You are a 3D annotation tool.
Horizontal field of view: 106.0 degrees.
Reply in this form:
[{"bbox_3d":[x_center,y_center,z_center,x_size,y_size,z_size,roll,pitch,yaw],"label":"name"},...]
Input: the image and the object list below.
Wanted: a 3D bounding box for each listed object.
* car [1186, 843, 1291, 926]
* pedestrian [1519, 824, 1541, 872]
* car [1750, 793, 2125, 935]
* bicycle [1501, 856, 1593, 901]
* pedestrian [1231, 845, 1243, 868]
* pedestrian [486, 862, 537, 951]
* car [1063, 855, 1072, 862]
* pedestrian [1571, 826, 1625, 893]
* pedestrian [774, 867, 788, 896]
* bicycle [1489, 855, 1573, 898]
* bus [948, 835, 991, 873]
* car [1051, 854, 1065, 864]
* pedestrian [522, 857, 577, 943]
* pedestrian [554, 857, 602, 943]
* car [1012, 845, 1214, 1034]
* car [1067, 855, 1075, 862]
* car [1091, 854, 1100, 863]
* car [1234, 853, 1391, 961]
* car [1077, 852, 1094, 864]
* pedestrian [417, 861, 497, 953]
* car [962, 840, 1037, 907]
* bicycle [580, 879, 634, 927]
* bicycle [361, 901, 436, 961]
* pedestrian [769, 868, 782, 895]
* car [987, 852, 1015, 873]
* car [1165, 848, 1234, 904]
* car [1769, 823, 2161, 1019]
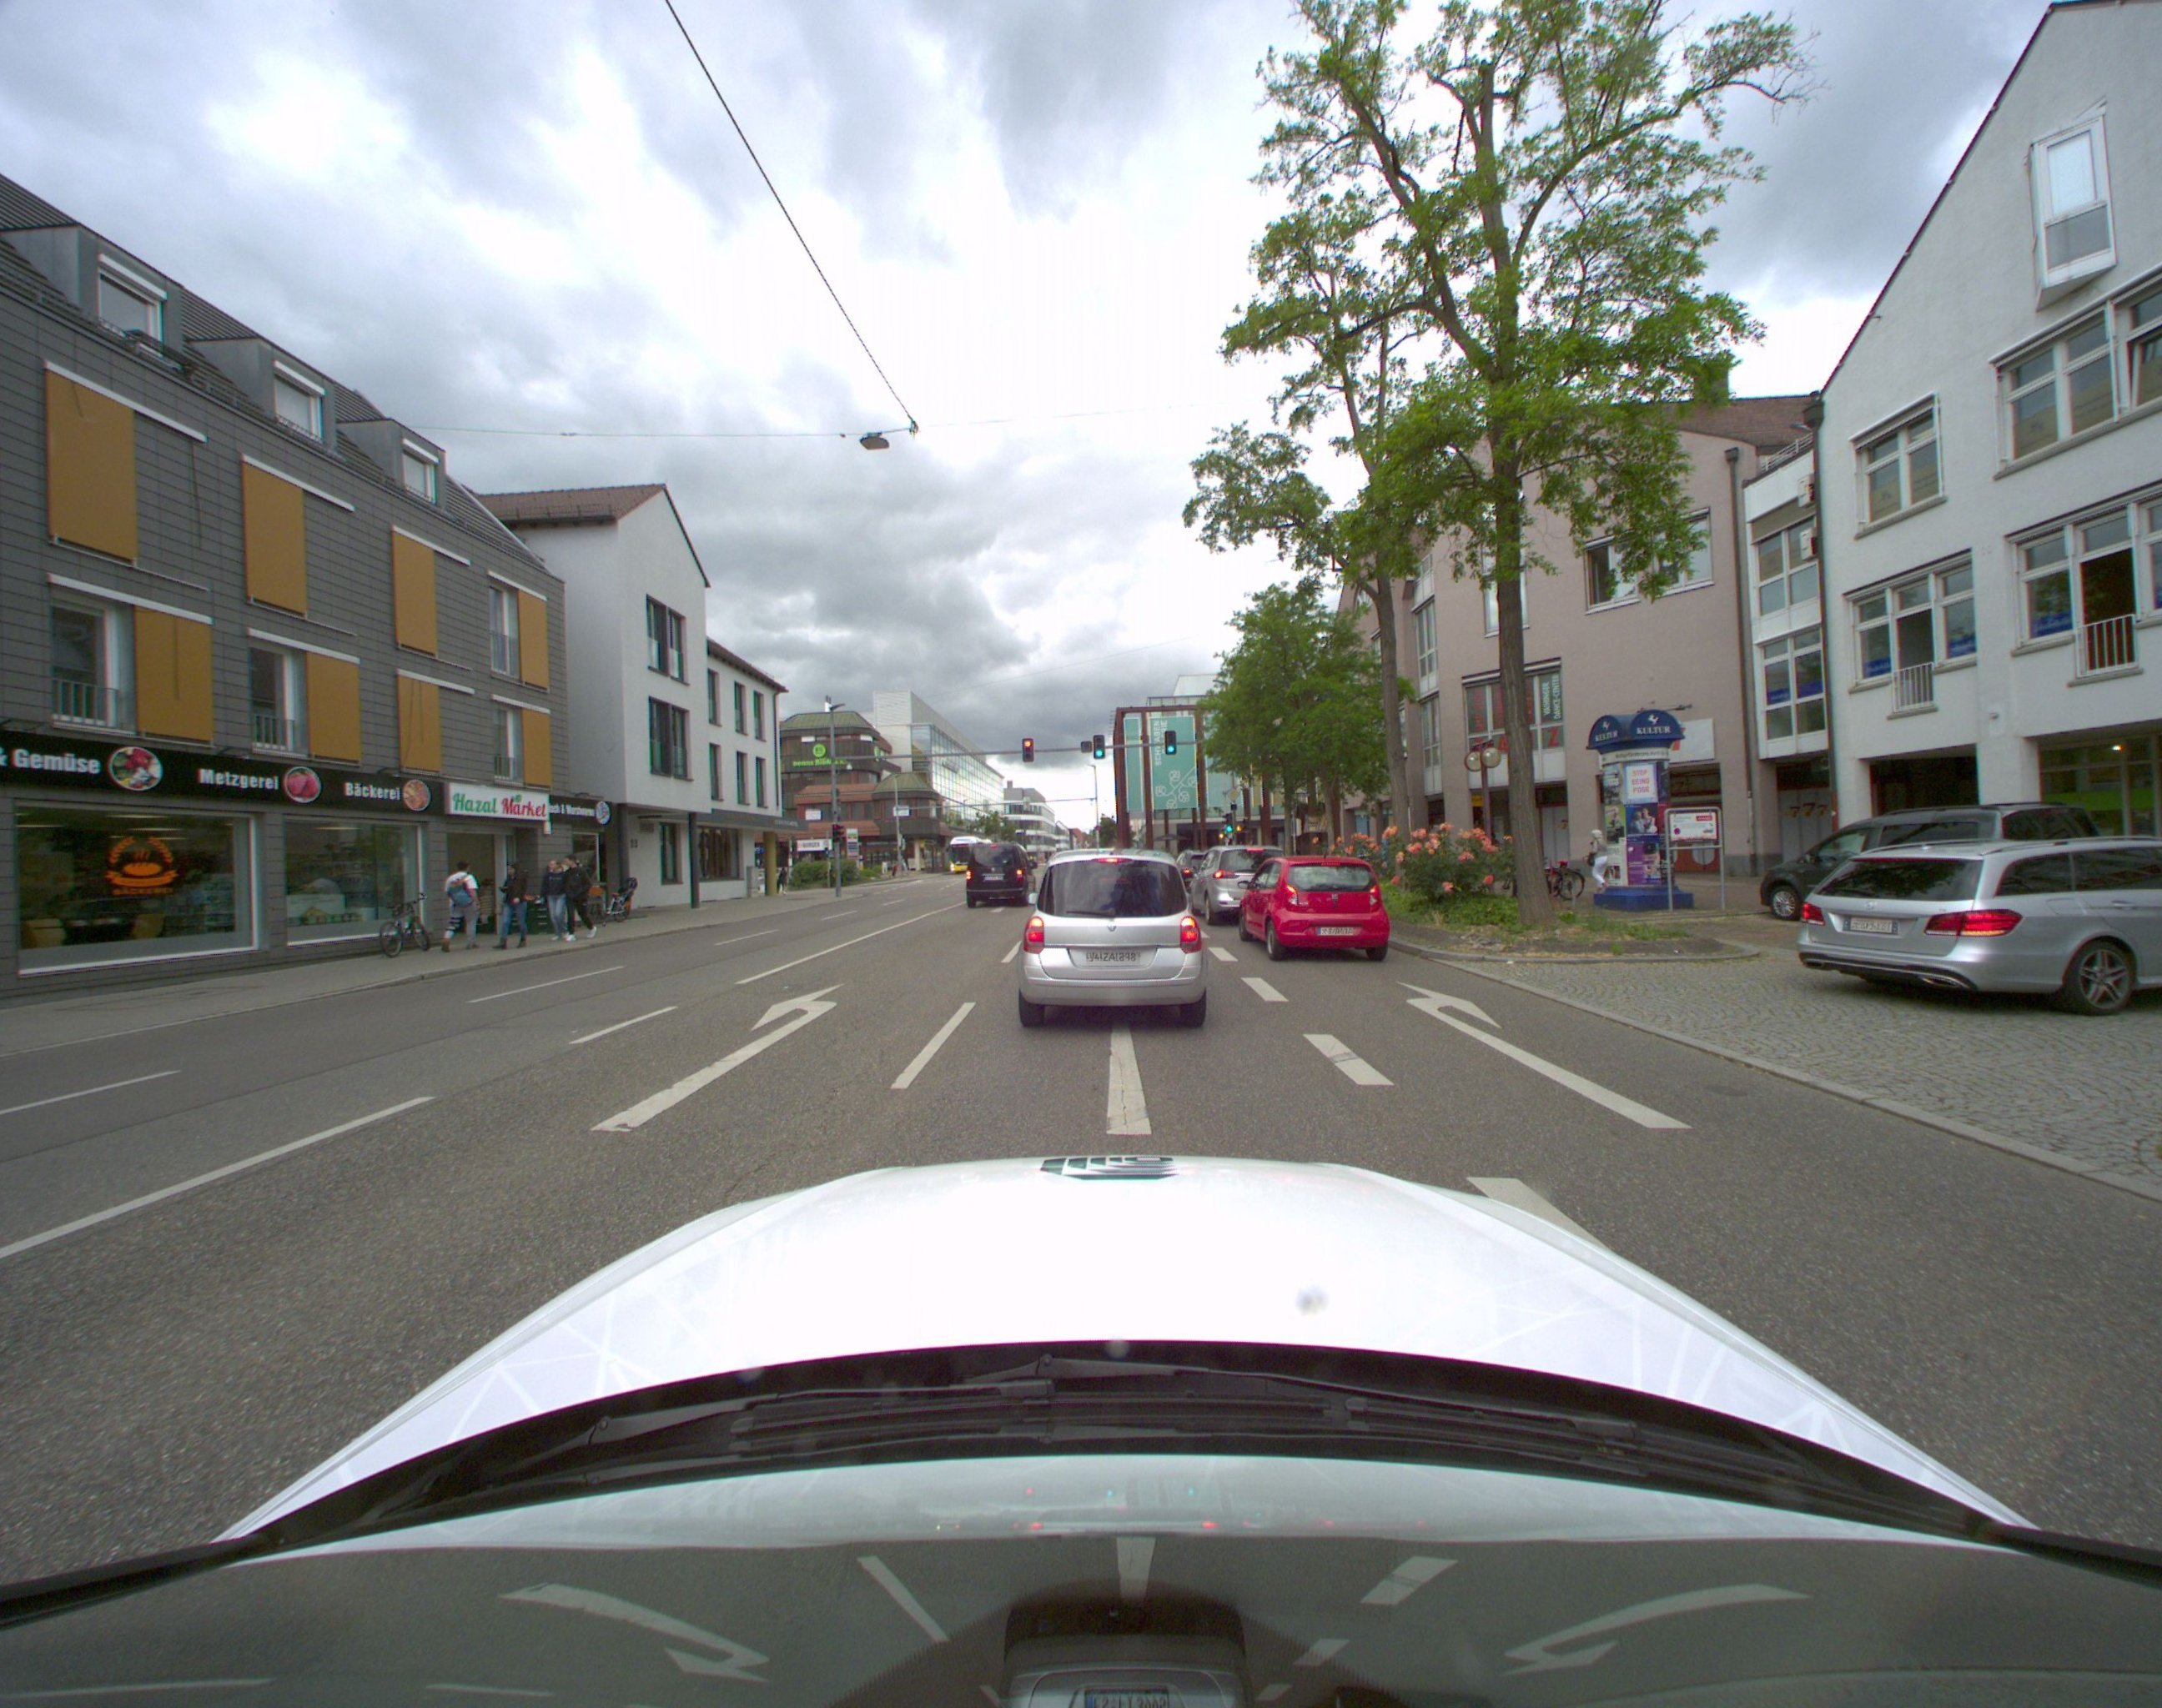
[{"bbox_3d":[3.375,0.592,18.045,1.581,1.634,3.916,0,0,0],"label":"car"},{"bbox_3d":[15.927,-0.205,28.886,0.630,1.677,0.592,-2,0,30],"label":"pedestrian"},{"bbox_3d":[13.140,0.126,12.917,1.633,1.831,3.963,-3,0,-3],"label":"car"},{"bbox_3d":[11.275,0.589,19.732,1.892,0.997,0.468,-2,0,5],"label":"bicycle"},{"bbox_3d":[11.597,0.172,60.593,0.652,1.650,0.557,-2,0,-13],"label":"pedestrian"},{"bbox_3d":[-10.985,0.990,15.716,0.654,1.650,0.555,-2,0,-22],"label":"pedestrian"},{"bbox_3d":[-2.968,0.943,181.207,1.793,1.540,4.068,-2,0,3],"label":"car"},{"bbox_3d":[13.348,0.135,21.049,0.786,1.659,0.819,-4,0,1],"label":"pedestrian"},{"bbox_3d":[-17.756,1.619,48.163,0.705,1.658,0.934,-2,0,-20],"label":"pedestrian"},{"bbox_3d":[11.192,0.557,20.288,1.760,0.997,0.447,-2,0,5],"label":"bicycle"},{"bbox_3d":[-10.214,0.006,75.514,2.678,3.261,8.653,-2,0,1],"label":"bus"},{"bbox_3d":[-3.713,0.810,133.017,1.793,1.540,4.068,-2,0,3],"label":"car"},{"bbox_3d":[-11.353,0.962,17.404,0.679,1.790,0.649,-2,0,1],"label":"pedestrian"},{"bbox_3d":[-10.717,0.956,17.368,0.567,1.775,0.646,-2,0,-2],"label":"pedestrian"},{"bbox_3d":[0.306,0.698,8.354,1.634,1.527,3.395,-1,0,1],"label":"car"},{"bbox_3d":[-2.681,1.131,211.442,1.793,1.540,4.068,-2,0,3],"label":"car"},{"bbox_3d":[3.318,0.940,186.473,1.987,1.949,4.951,-2,0,1],"label":"car"},{"bbox_3d":[3.428,0.709,12.614,1.581,1.443,3.349,0,0,2],"label":"car"},{"bbox_3d":[0.639,0.547,114.461,1.907,1.677,4.249,-2,0,6],"label":"car"},{"bbox_3d":[-11.996,0.992,15.689,0.751,1.705,0.981,1,0,1],"label":"pedestrian"},{"bbox_3d":[-2.395,0.537,24.988,1.738,1.855,4.635,-1,0,1],"label":"car"},{"bbox_3d":[-12.795,1.303,22.013,0.385,1.186,1.825,-2,0,-1],"label":"bicycle"},{"bbox_3d":[-12.663,1.406,15.151,0.325,0.954,1.478,-2,0,-9],"label":"bicycle"},{"bbox_3d":[-18.661,1.668,49.734,0.664,1.649,0.788,-2,0,-20],"label":"pedestrian"},{"bbox_3d":[-7.132,0.747,72.657,1.987,1.706,4.065,-2,0,0],"label":"car"},{"bbox_3d":[3.602,0.614,25.233,1.581,1.595,3.868,0,0,0],"label":"car"},{"bbox_3d":[9.511,0.515,7.919,4.351,1.448,1.817,-3,1,-7],"label":"car"}]
